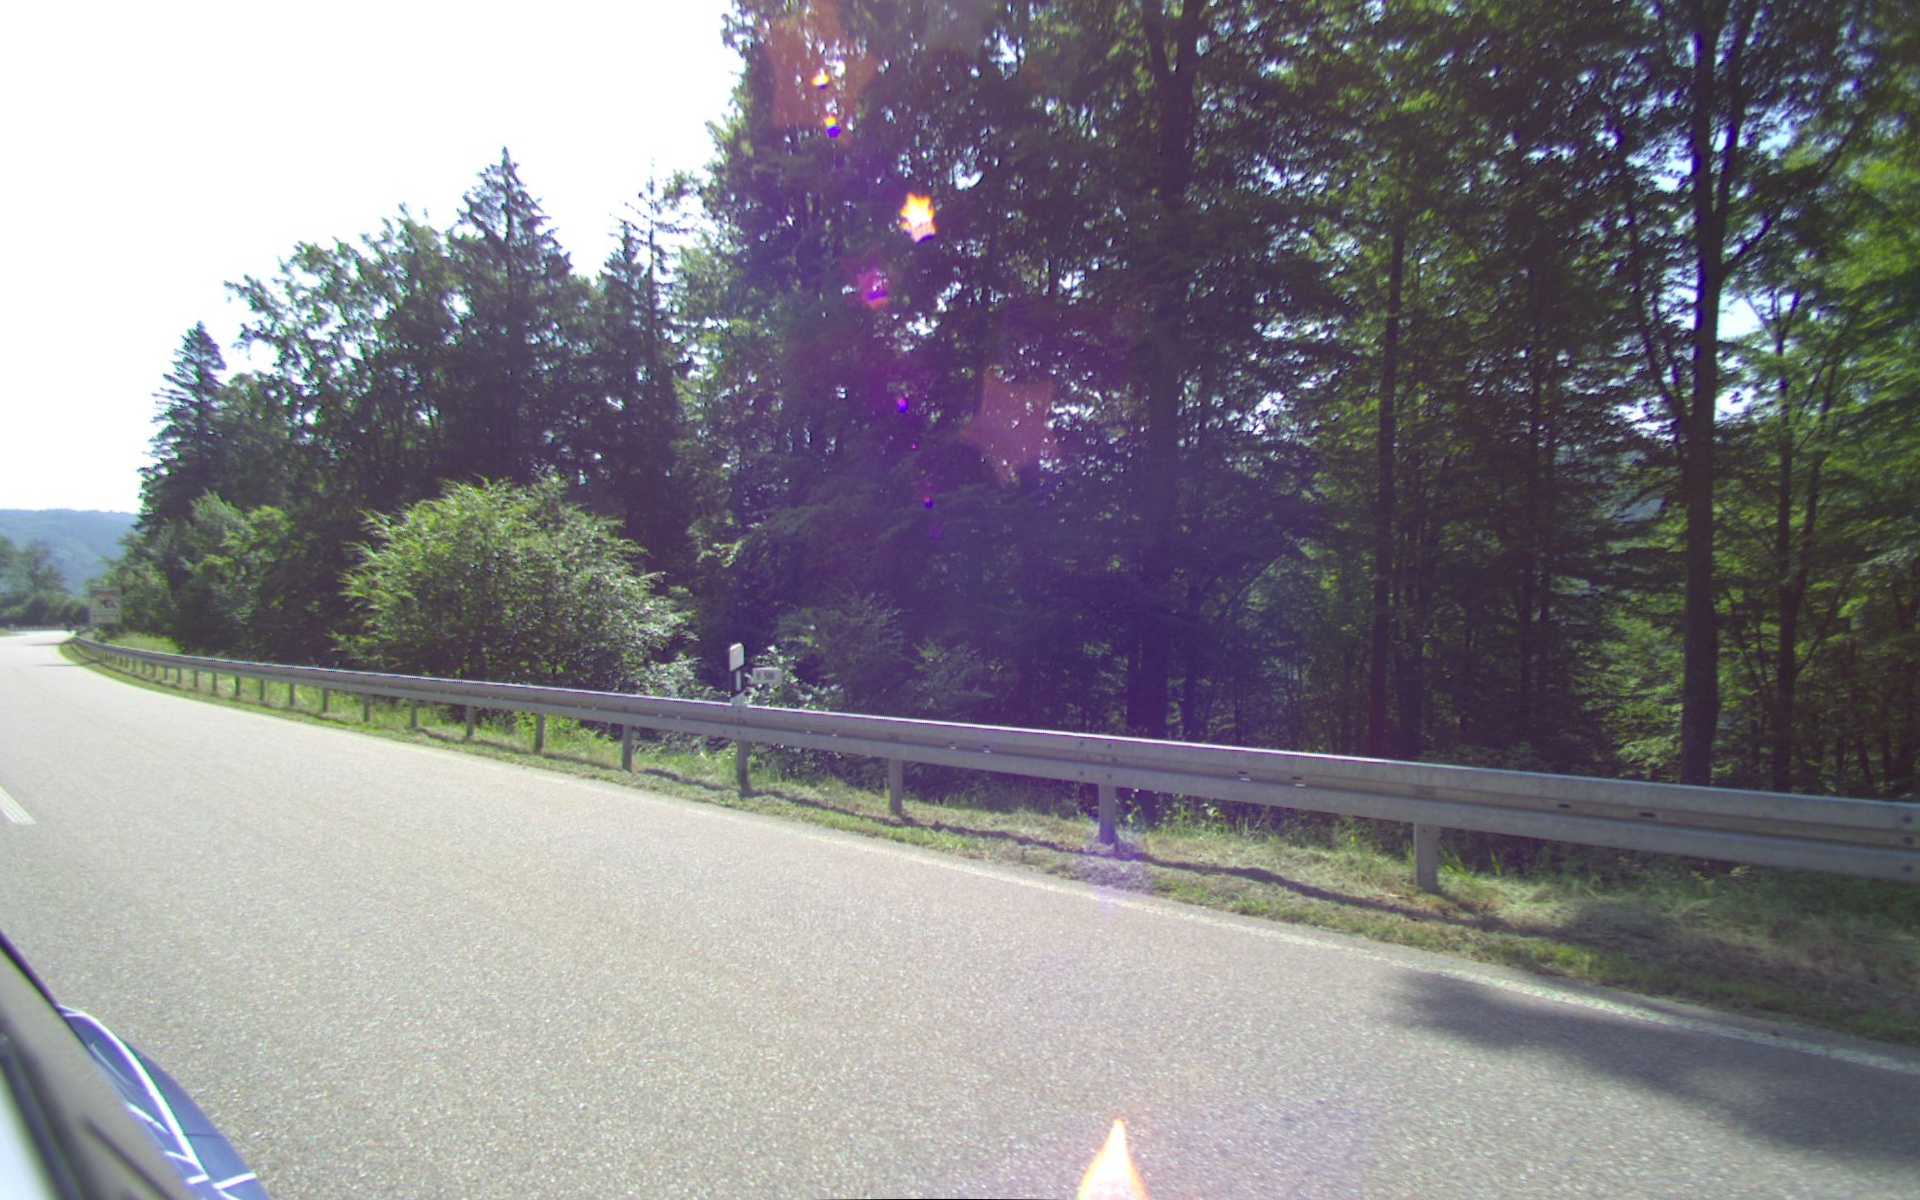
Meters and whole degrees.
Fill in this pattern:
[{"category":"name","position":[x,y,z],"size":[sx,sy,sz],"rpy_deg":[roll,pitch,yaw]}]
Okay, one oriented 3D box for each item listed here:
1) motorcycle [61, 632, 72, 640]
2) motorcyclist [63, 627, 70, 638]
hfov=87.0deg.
[{"category":"motorcycle","position":[-126.359,5.068,143.121],"size":[0.972,1.079,1.967],"rpy_deg":[1,-2,-37]},{"category":"motorcyclist","position":[-126.374,4.642,143.110],"size":[0.650,1.525,0.936],"rpy_deg":[1,-2,-38]}]
